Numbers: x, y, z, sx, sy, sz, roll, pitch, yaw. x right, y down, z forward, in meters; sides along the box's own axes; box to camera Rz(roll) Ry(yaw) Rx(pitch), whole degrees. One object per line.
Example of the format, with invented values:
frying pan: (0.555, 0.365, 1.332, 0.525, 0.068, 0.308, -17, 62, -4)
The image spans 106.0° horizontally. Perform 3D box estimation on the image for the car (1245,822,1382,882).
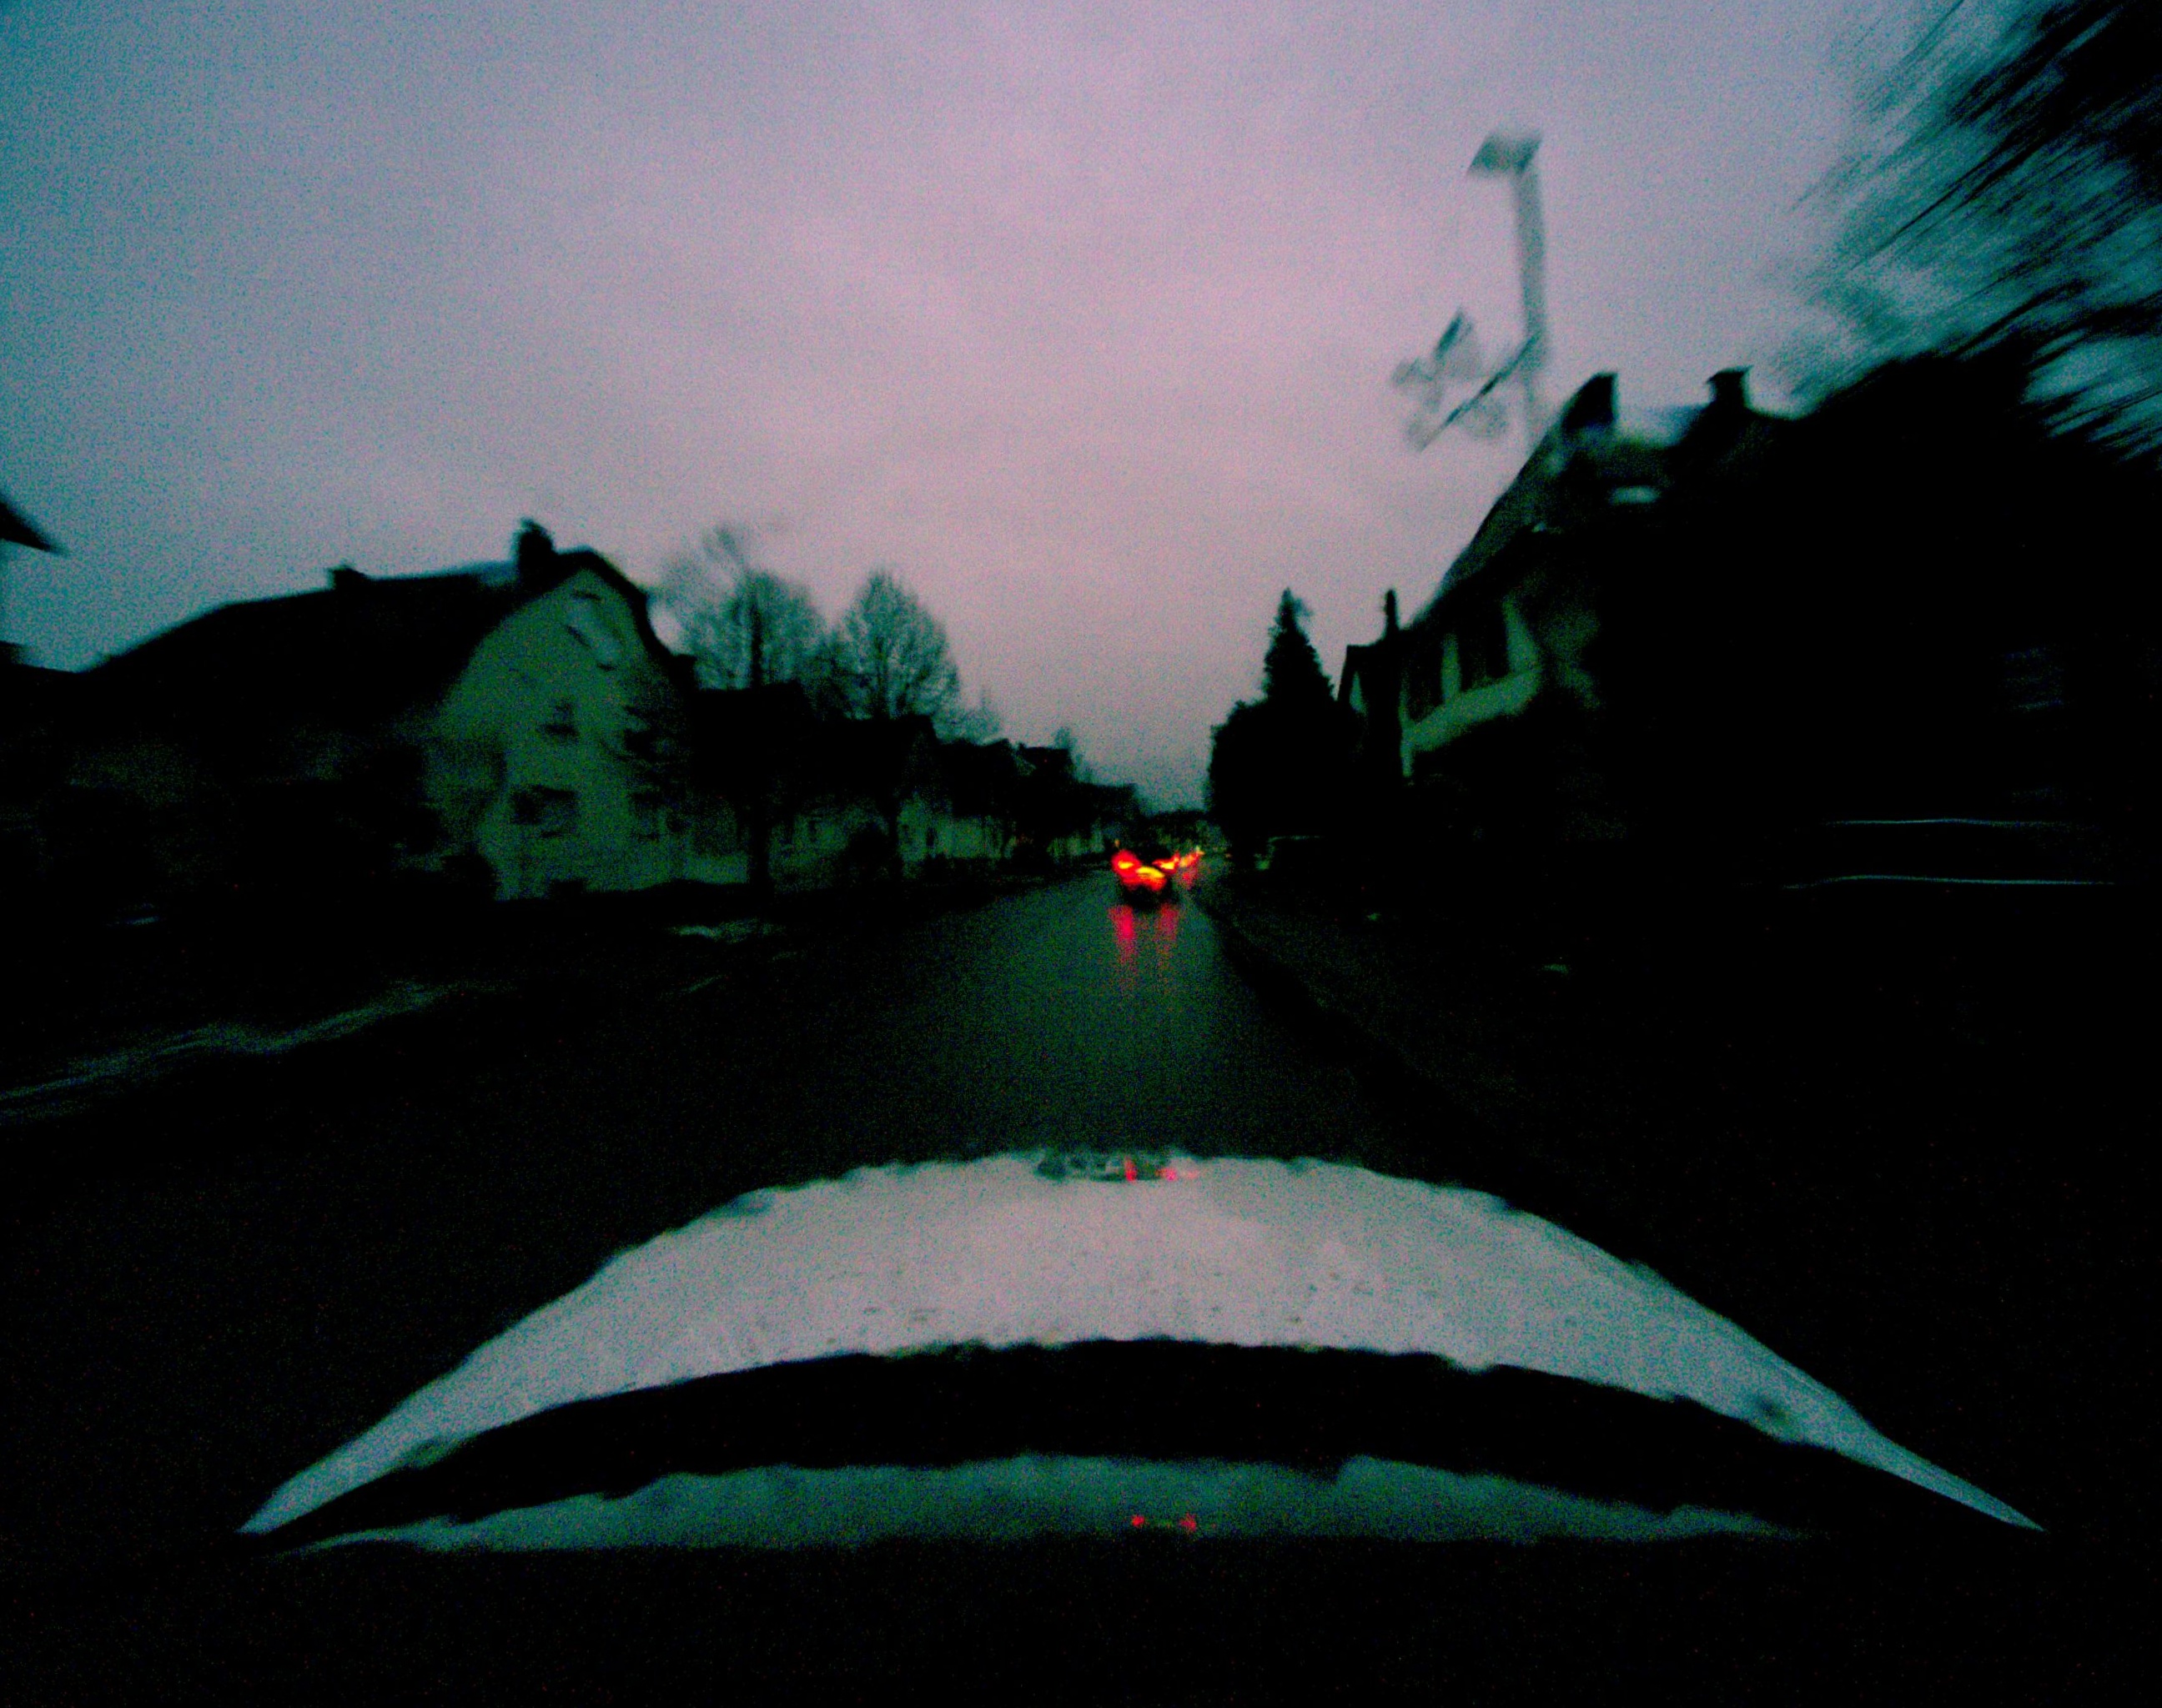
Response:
car: (8.286, -0.068, 29.333, 4.305, 1.732, 2.001, -5, 0, 2)

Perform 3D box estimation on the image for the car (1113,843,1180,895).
car: (2.046, 0.447, 26.633, 1.986, 1.525, 4.002, -2, 0, 2)

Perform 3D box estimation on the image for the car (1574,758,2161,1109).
car: (5.811, 0.302, 5.779, 1.885, 1.554, 4.759, -2, 0, 3)

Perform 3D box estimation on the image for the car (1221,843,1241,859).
car: (14.498, -0.306, 78.647, 1.637, 1.540, 3.404, -1, 1, 15)

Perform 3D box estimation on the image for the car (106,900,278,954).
car: (-22.078, 1.788, 20.346, 1.117, 1.058, 2.666, -2, 0, 12)

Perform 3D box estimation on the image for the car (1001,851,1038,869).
car: (-4.942, 0.452, 66.193, 1.768, 1.366, 4.016, -1, 0, 15)

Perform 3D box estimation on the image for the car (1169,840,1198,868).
car: (7.742, -0.026, 61.335, 1.981, 2.013, 4.011, -1, 0, 10)
